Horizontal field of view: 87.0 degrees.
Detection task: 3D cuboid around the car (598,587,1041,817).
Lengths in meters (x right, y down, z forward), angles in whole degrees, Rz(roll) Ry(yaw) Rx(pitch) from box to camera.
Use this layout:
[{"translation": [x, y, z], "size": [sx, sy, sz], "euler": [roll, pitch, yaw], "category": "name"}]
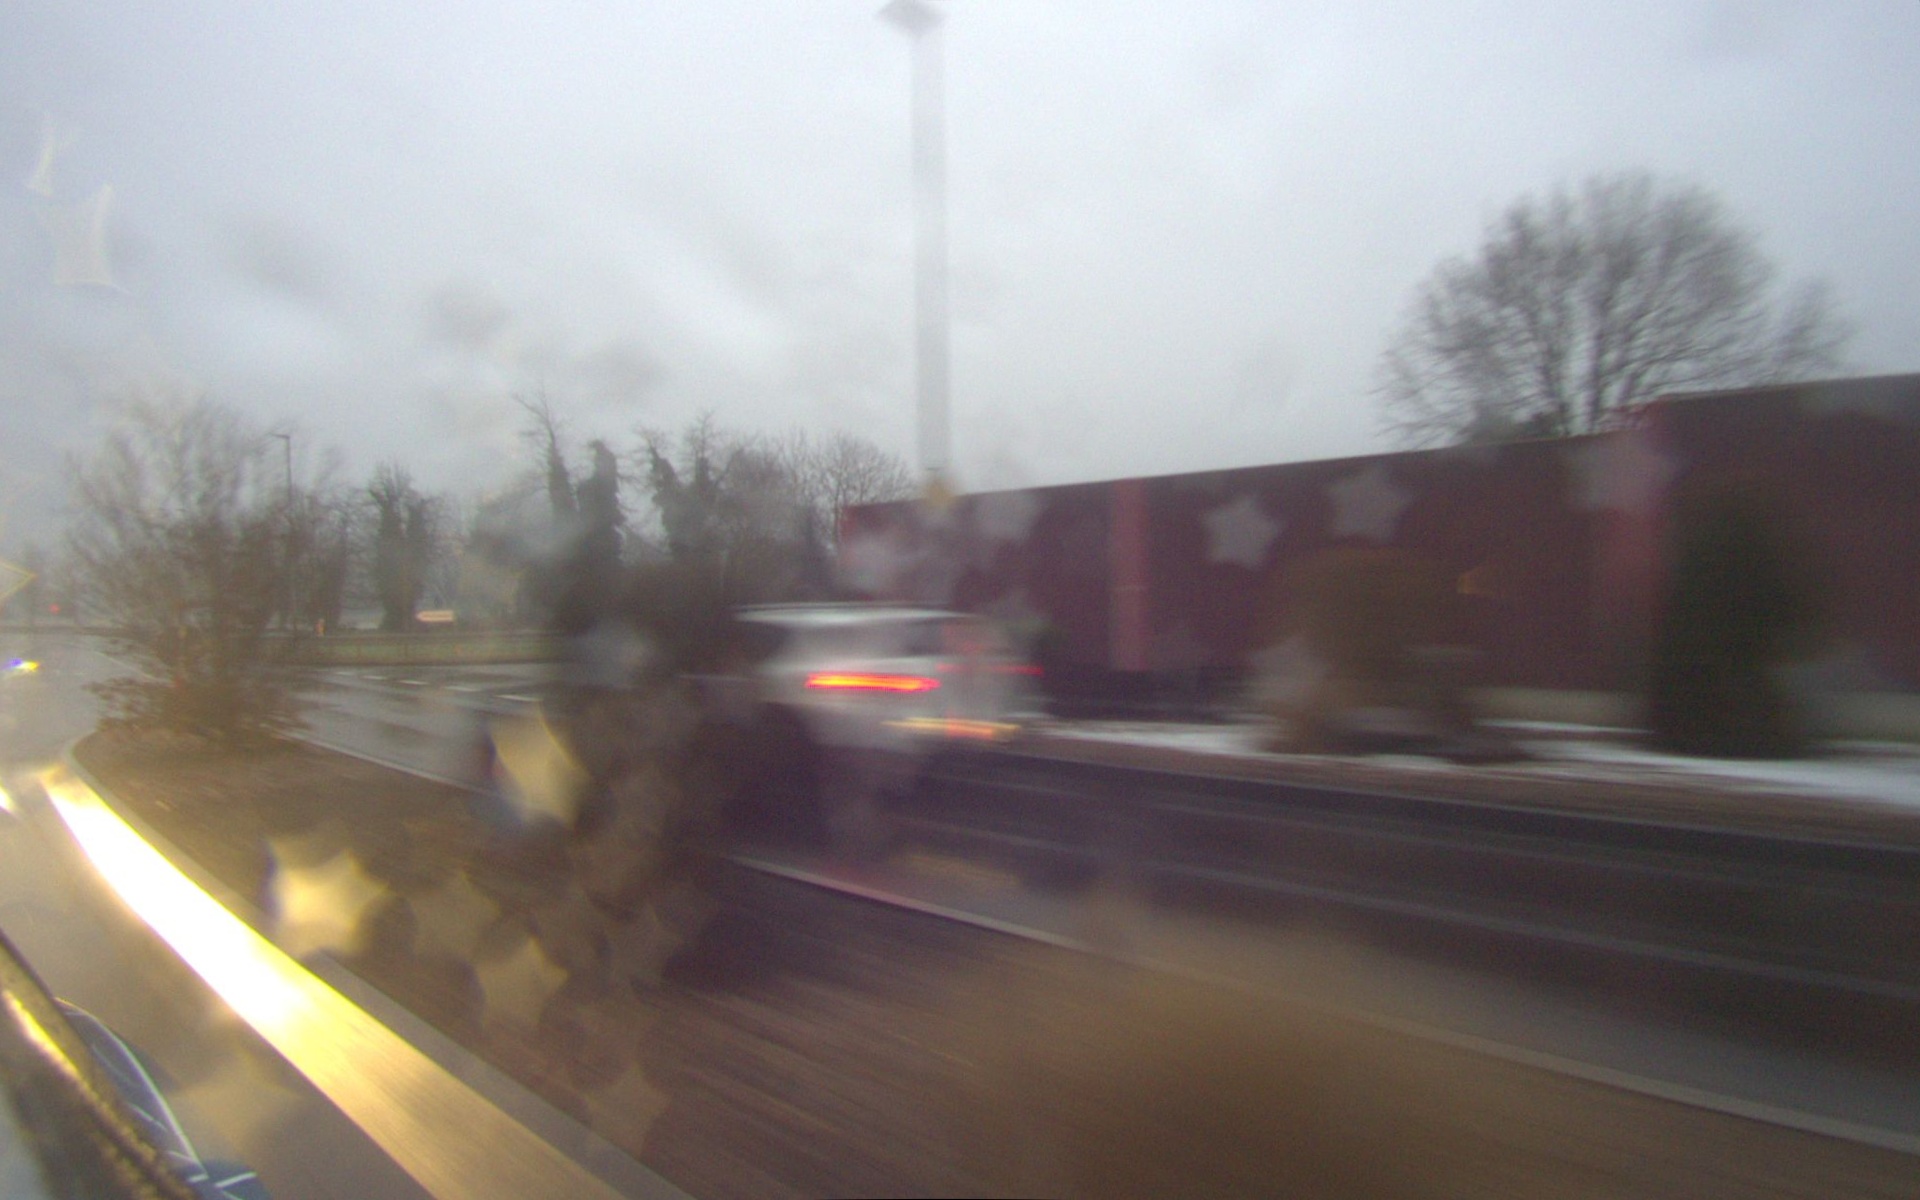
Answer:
[{"translation": [-1.363, 0.705, 8.883], "size": [3.881, 1.590, 1.677], "euler": [0, 0, 40], "category": "car"}]
